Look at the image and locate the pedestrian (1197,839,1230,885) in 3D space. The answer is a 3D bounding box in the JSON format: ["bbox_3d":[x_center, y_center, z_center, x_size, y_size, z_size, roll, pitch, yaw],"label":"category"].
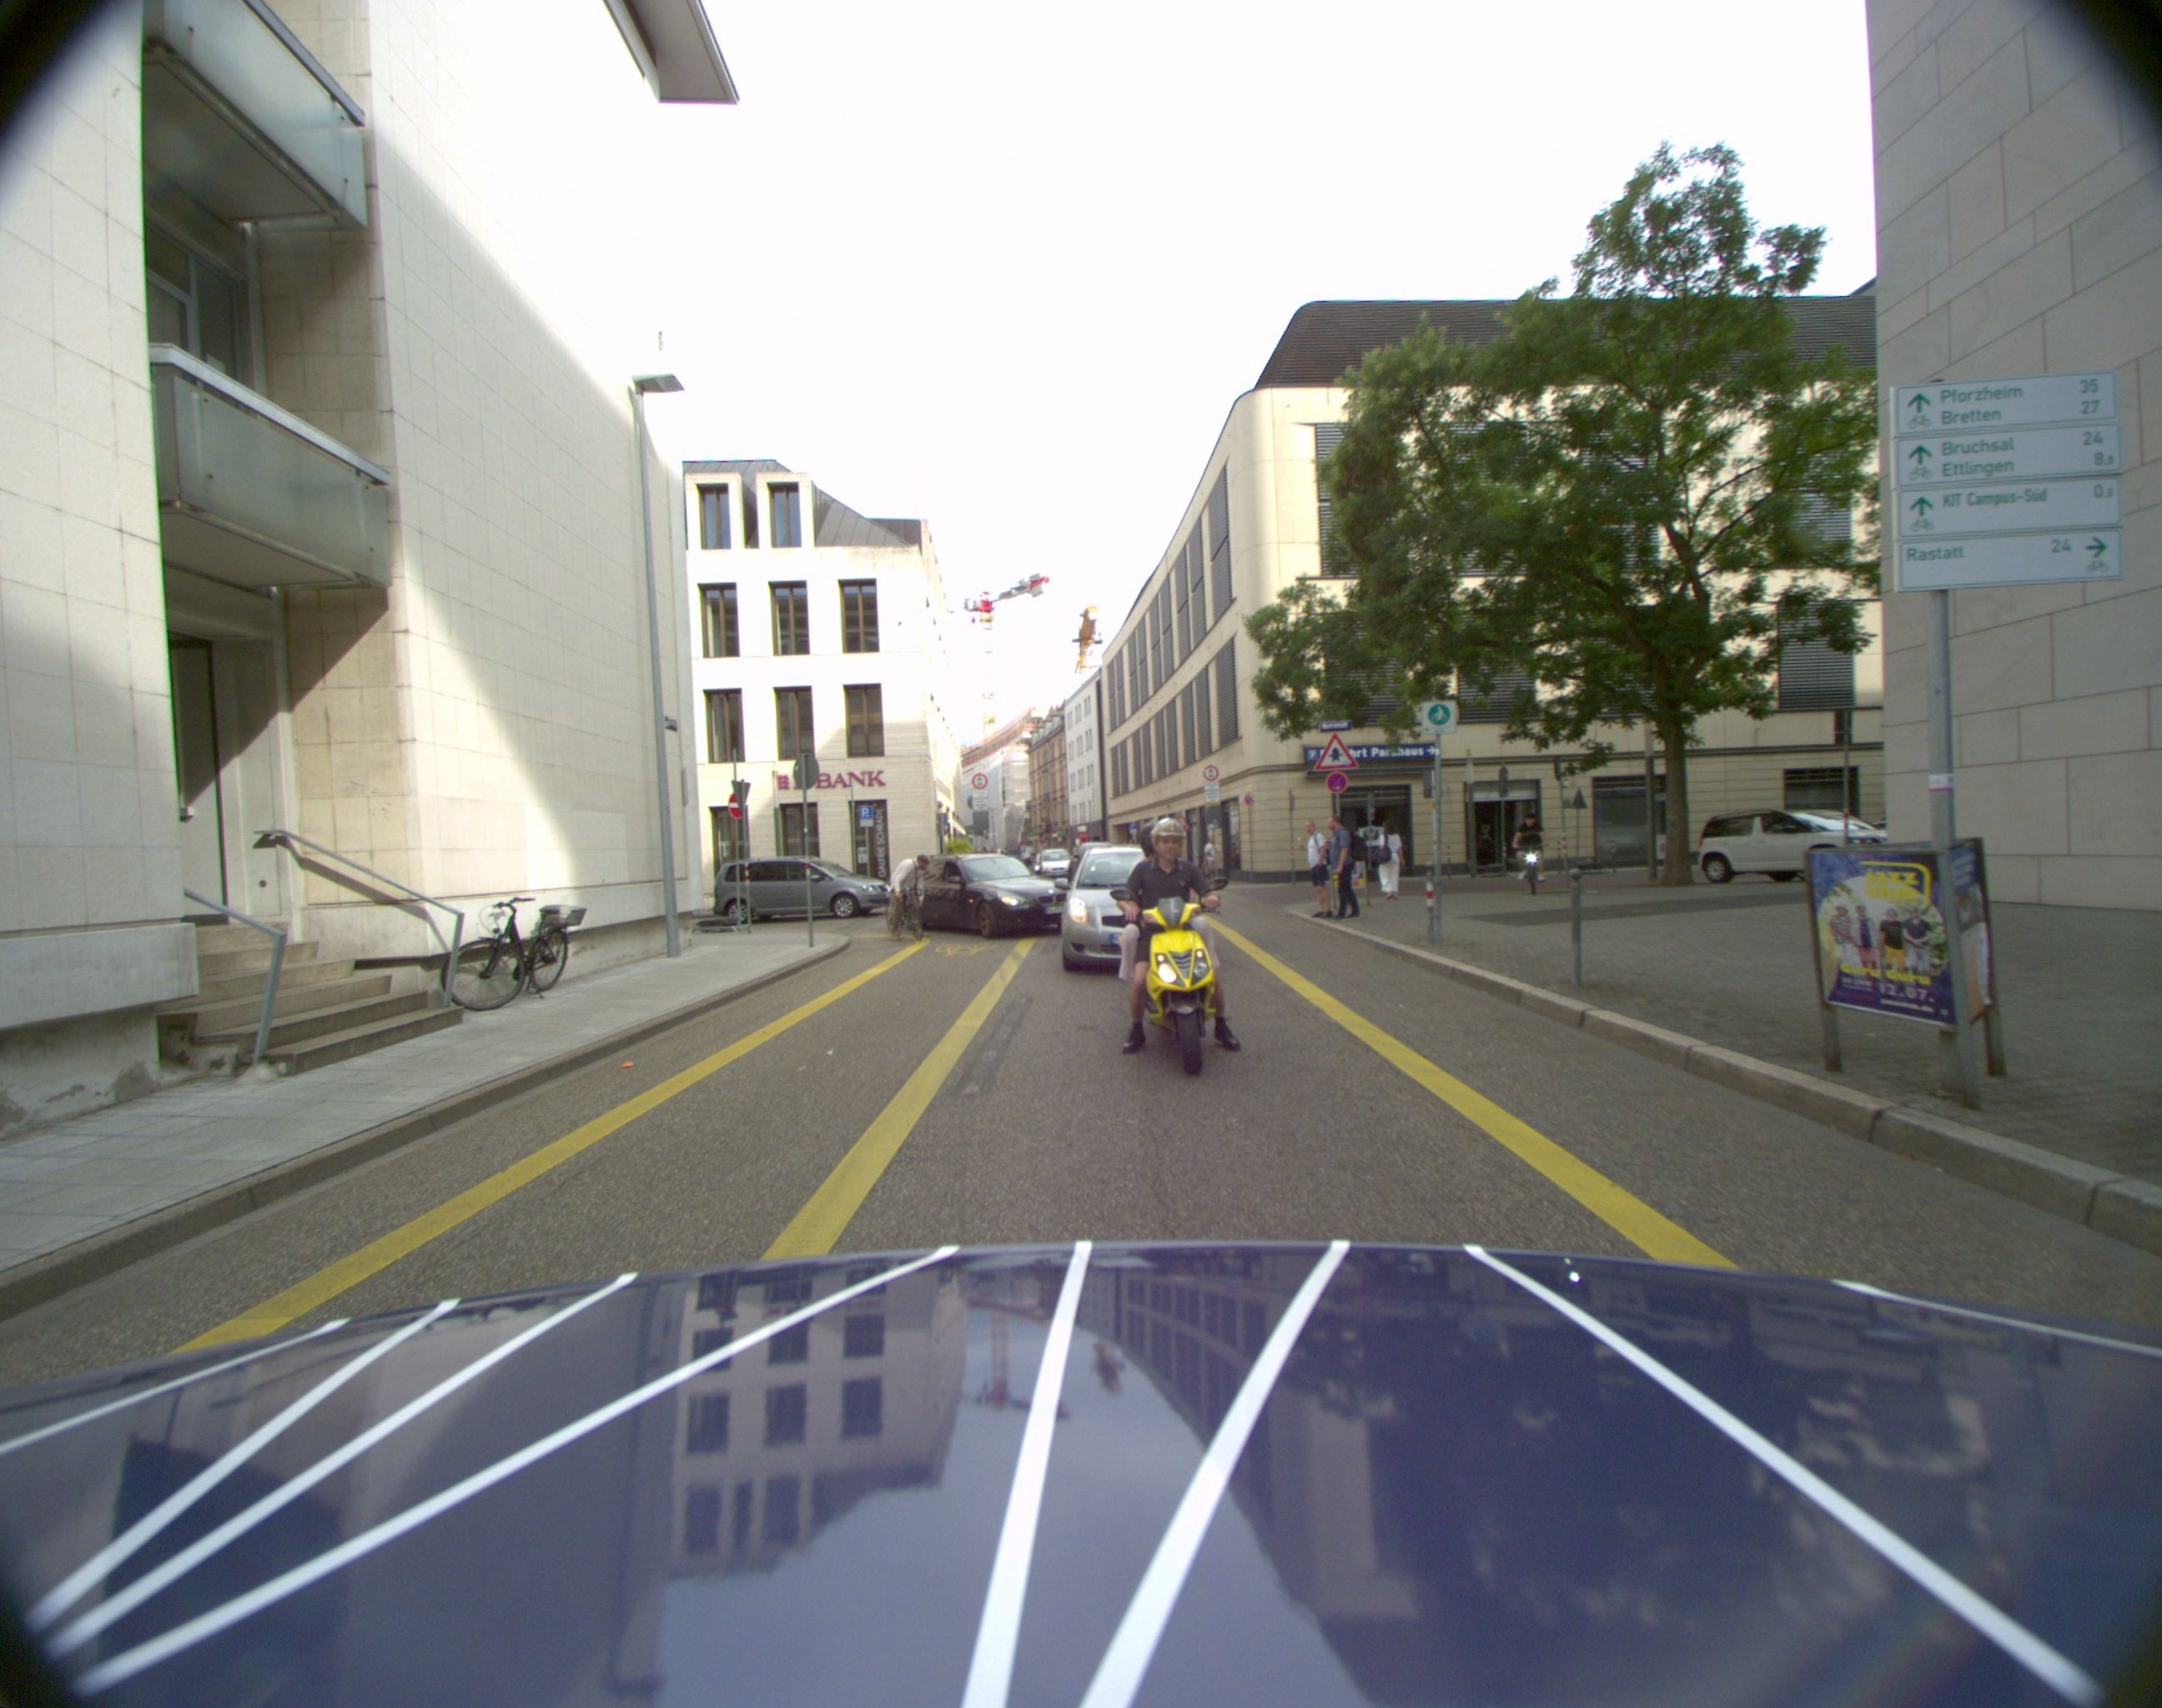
[{"bbox_3d":[5.350,0.304,30.728,0.892,1.755,1.060,-6,2,-6],"label":"pedestrian"}]

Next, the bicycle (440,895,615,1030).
[{"bbox_3d":[-5.909,1.098,8.257,0.590,1.161,1.814,-2,1,-4],"label":"bicycle"}]

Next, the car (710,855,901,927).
[{"bbox_3d":[-7.003,0.923,19.659,4.193,1.581,1.814,-2,1,-1],"label":"car"}]

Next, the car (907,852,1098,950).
[{"bbox_3d":[-1.573,0.782,14.077,1.720,1.482,3.755,-4,1,-38],"label":"car"}]

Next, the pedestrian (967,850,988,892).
[{"bbox_3d":[-4.662,0.764,34.254,0.861,1.820,0.773,-2,2,-6],"label":"pedestrian"}]

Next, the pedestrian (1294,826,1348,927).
[{"bbox_3d":[4.326,0.400,13.734,0.644,1.755,0.653,-3,1,-11],"label":"pedestrian"}]

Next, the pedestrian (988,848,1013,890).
[{"bbox_3d":[-3.559,0.671,33.782,0.860,1.820,0.774,-2,2,8],"label":"pedestrian"}]

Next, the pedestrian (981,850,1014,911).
[{"bbox_3d":[-2.574,0.787,23.432,0.774,1.820,0.860,-3,2,-19],"label":"pedestrian"}]

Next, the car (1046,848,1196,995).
[{"bbox_3d":[0.517,0.723,10.136,1.562,1.482,3.784,-3,1,3],"label":"car"}]

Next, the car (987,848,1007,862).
[{"bbox_3d":[-9.567,0.085,86.236,1.590,1.477,3.994,-3,1,-14],"label":"car"}]

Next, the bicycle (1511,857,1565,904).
[{"bbox_3d":[9.653,0.547,16.031,0.600,0.829,1.728,-6,-2,41],"label":"bicycle"}]

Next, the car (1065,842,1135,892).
[{"bbox_3d":[0.551,0.394,26.058,1.710,1.482,4.100,-3,1,-8],"label":"car"}]

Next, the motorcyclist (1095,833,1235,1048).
[{"bbox_3d":[0.582,0.584,5.656,0.924,1.445,1.065,-1,1,2],"label":"motorcyclist"}]

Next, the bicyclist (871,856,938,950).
[{"bbox_3d":[-3.177,0.850,13.646,0.894,1.585,0.875,-3,2,-29],"label":"bicyclist"}]

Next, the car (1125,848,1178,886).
[{"bbox_3d":[3.159,0.532,34.885,1.563,1.548,4.100,-3,1,-6],"label":"car"}]

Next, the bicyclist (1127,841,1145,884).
[{"bbox_3d":[2.147,0.309,29.699,0.644,1.644,0.939,0,2,-1],"label":"bicyclist"}]

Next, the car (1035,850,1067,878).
[{"bbox_3d":[-1.776,0.535,43.796,1.589,1.477,3.997,-2,1,-5],"label":"car"}]

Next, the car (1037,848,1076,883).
[{"bbox_3d":[-1.270,0.533,37.650,1.563,1.548,4.100,-3,1,-6],"label":"car"}]

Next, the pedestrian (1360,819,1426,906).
[{"bbox_3d":[6.585,0.166,16.069,0.879,1.699,0.910,-6,2,1],"label":"pedestrian"}]

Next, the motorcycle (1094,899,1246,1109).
[{"bbox_3d":[0.584,0.993,5.769,0.929,1.159,2.127,-1,1,2],"label":"motorcycle"}]

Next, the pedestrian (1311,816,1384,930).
[{"bbox_3d":[4.530,0.309,12.941,0.745,1.804,0.756,-6,2,-11],"label":"pedestrian"}]

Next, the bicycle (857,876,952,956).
[{"bbox_3d":[-3.274,1.060,13.847,0.872,1.188,2.857,-3,1,-29],"label":"bicycle"}]

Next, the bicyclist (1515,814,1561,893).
[{"bbox_3d":[9.656,-0.011,16.062,0.621,1.610,0.645,-5,1,41],"label":"bicyclist"}]

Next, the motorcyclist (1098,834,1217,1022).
[{"bbox_3d":[0.602,0.573,6.241,0.903,1.445,0.742,-1,1,2],"label":"motorcyclist"}]

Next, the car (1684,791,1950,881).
[{"bbox_3d":[16.082,-0.291,16.949,1.899,1.682,3.964,-2,-2,-3],"label":"car"}]
